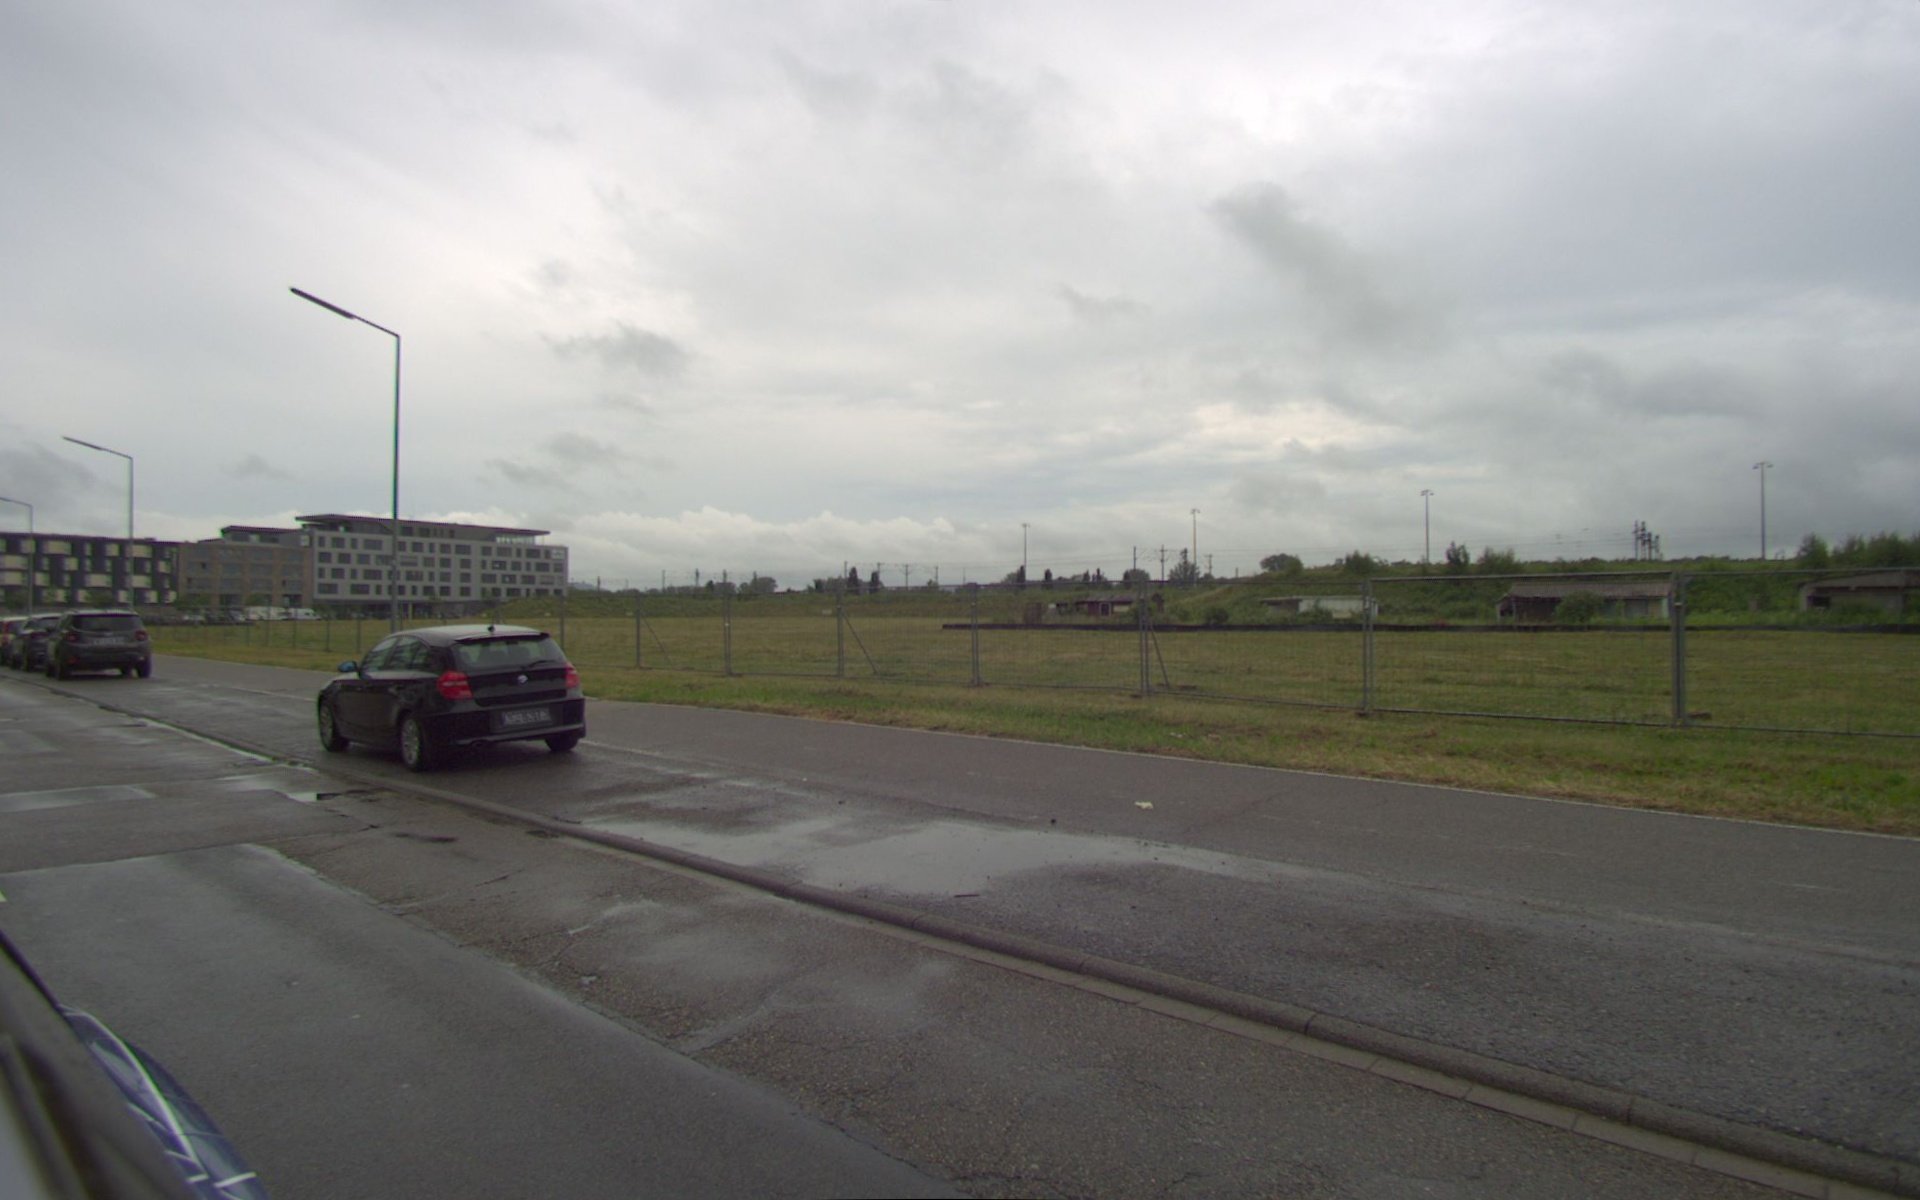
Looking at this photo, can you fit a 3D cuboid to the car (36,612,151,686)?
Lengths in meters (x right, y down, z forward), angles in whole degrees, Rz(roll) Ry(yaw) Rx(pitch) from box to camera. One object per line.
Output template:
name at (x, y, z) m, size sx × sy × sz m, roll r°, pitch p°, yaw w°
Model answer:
car at (-22.158, 1.187, 25.807) m, size 4.881 × 1.706 × 1.733 m, roll -2°, pitch -1°, yaw 44°

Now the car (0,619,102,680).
car at (-26.348, 1.385, 29.272) m, size 4.131 × 1.602 × 1.734 m, roll -1°, pitch -1°, yaw 41°

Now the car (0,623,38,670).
car at (-34.925, 1.655, 36.579) m, size 4.668 × 1.540 × 1.818 m, roll 0°, pitch 1°, yaw 41°

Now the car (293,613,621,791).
car at (-5.789, 0.988, 11.432) m, size 4.150 × 1.573 × 1.828 m, roll -1°, pitch 1°, yaw 41°

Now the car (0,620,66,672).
car at (-30.902, 1.455, 33.186) m, size 4.206 × 1.587 × 1.708 m, roll 0°, pitch -1°, yaw 39°
